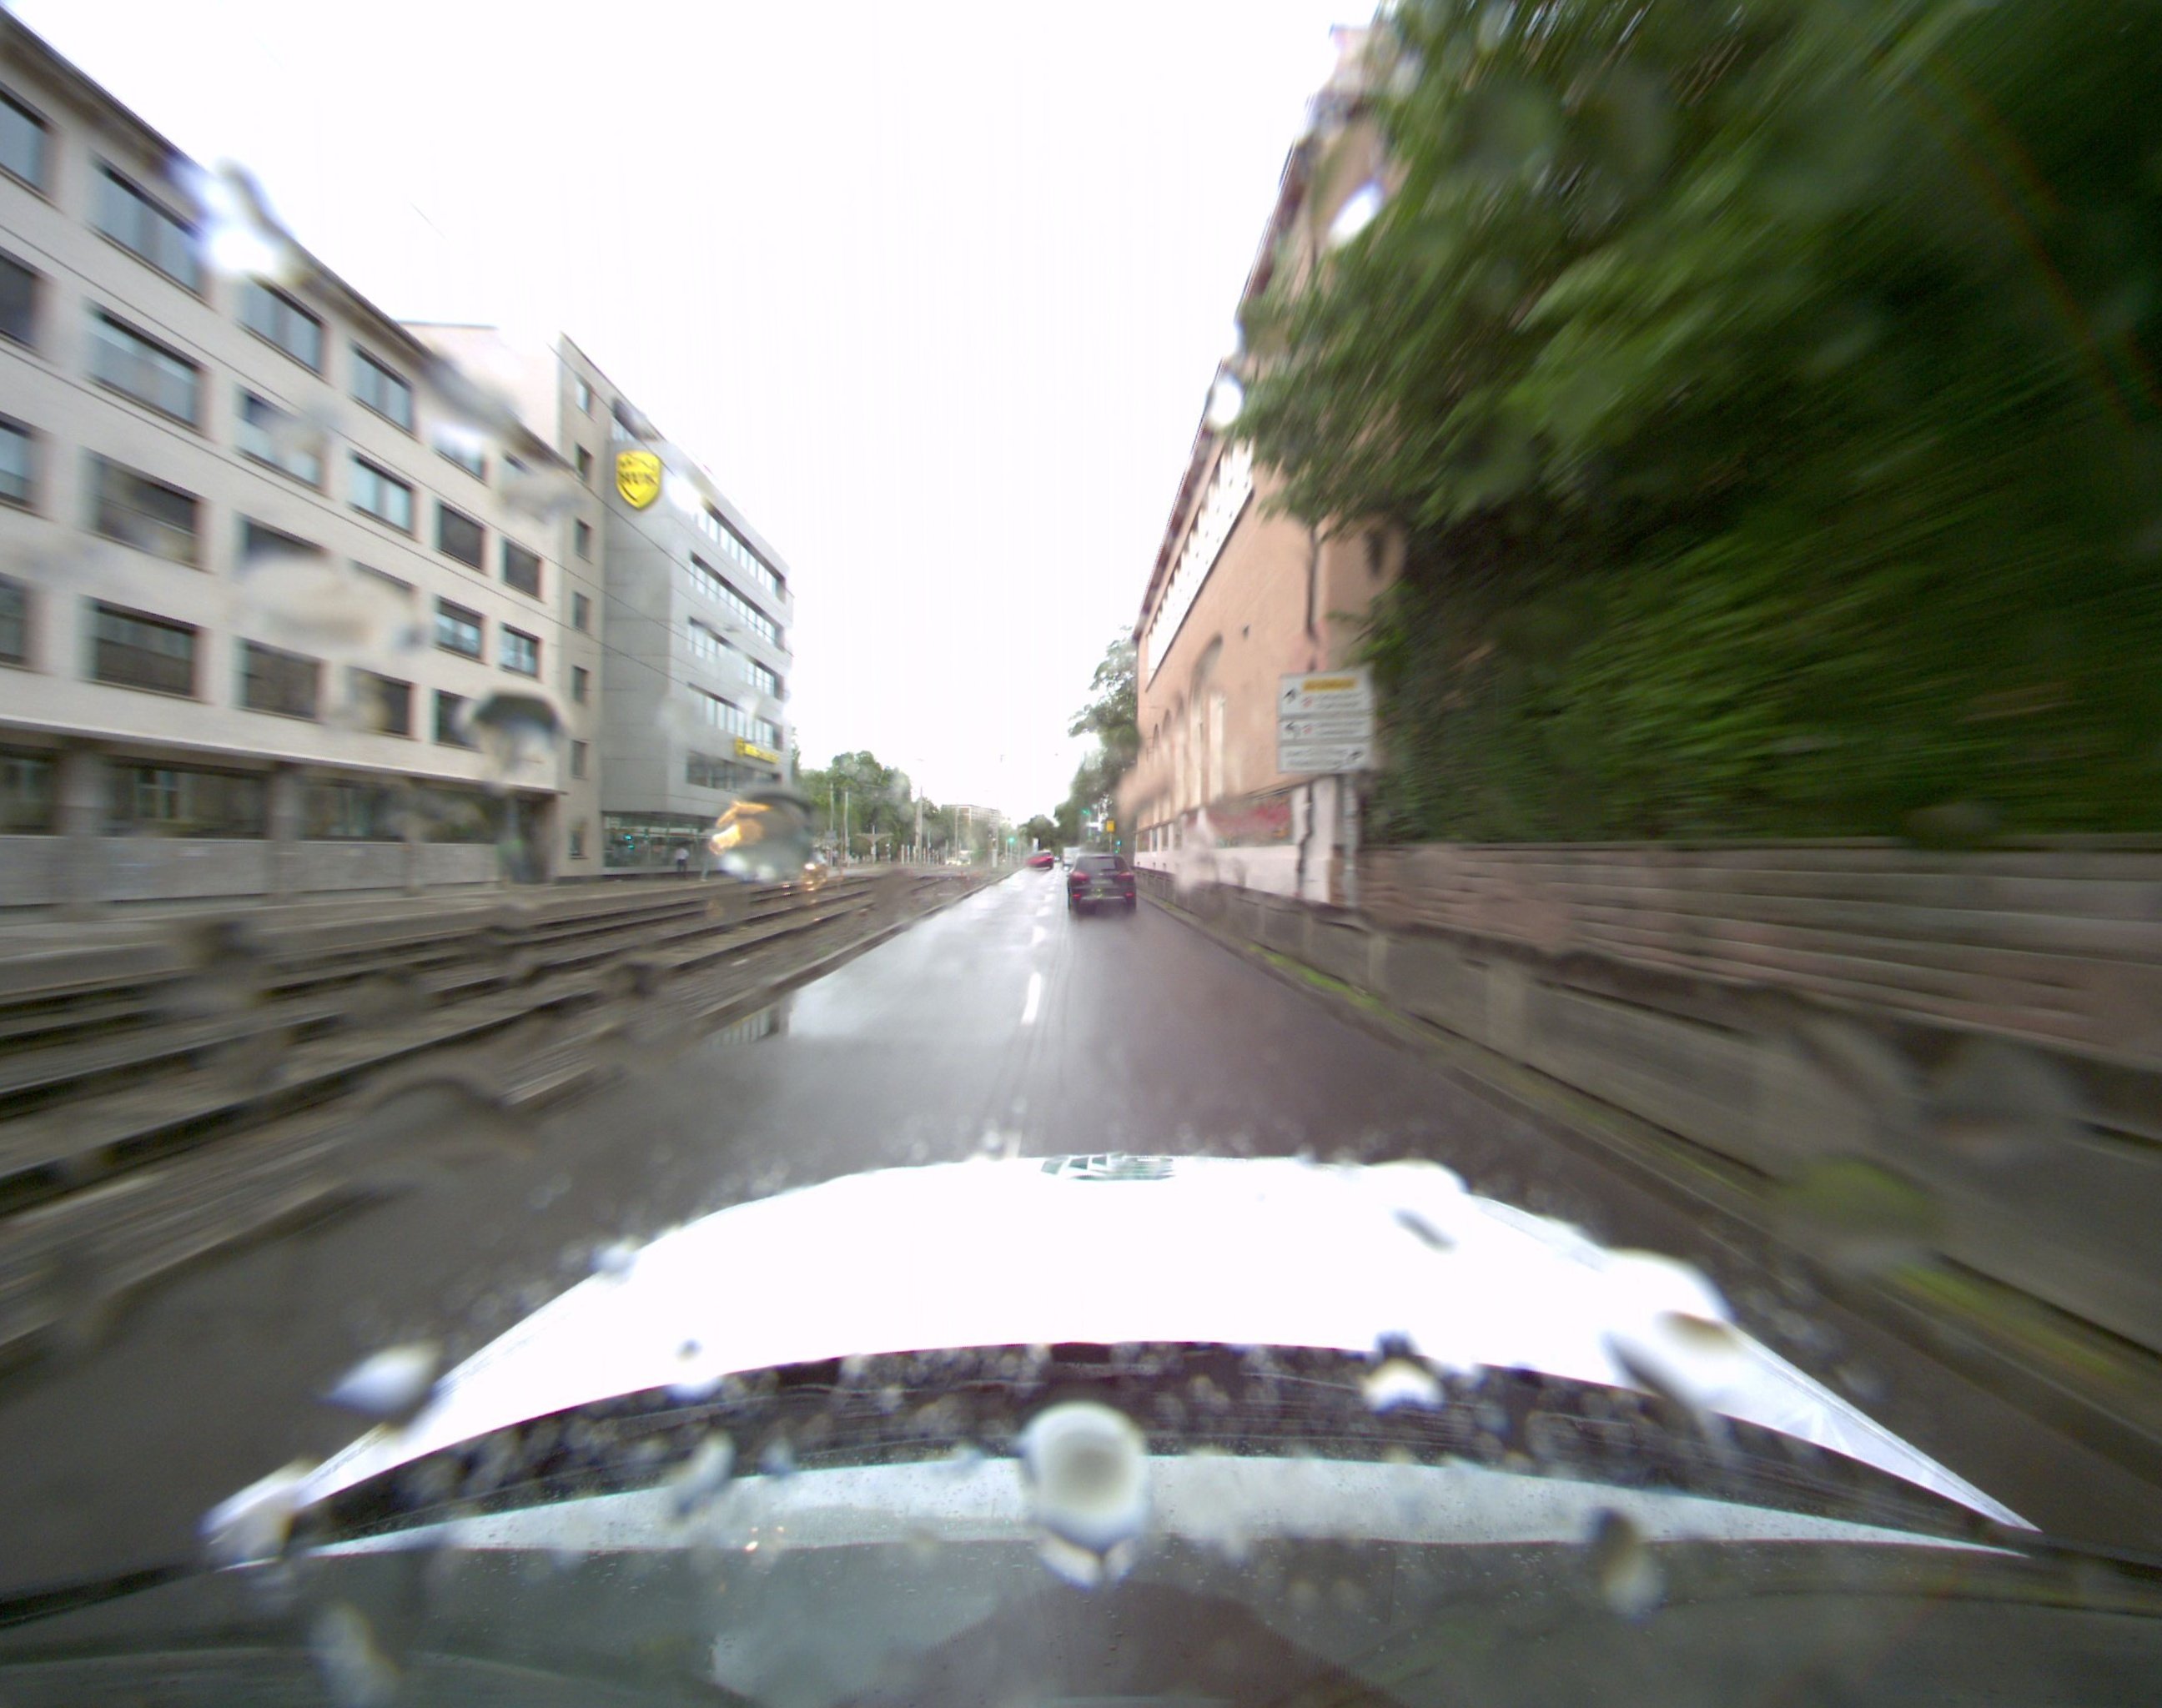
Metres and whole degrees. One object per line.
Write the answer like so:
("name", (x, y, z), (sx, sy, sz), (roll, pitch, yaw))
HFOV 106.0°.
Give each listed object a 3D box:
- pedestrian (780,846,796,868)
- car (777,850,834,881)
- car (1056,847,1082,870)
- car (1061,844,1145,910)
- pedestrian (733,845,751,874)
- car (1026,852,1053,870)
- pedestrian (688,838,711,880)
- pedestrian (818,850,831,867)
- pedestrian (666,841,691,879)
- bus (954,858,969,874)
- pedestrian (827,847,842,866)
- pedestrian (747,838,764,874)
("pedestrian", (-21.871, 0.251, 60.795), (0.971, 1.594, 0.582), (3, -1, -38))
("car", (-15.266, 0.590, 45.291), (1.936, 1.536, 4.341), (-3, 0, -5))
("car", (-0.968, 0.343, 68.077), (2.029, 1.840, 4.392), (1, 0, 0))
("car", (0.485, 0.545, 21.961), (2.030, 1.584, 4.389), (1, 0, -1))
("pedestrian", (-19.265, 0.300, 46.265), (0.583, 1.594, 0.638), (2, -1, 15))
("car", (-3.545, 0.603, 70.850), (2.092, 1.506, 4.730), (-1, 0, 0))
("pedestrian", (-18.471, 0.237, 39.467), (0.659, 2.014, 0.810), (2, -1, -1))
("pedestrian", (-24.051, 0.410, 76.421), (0.908, 1.594, 1.002), (2, -1, -3))
("pedestrian", (-19.471, 0.300, 39.412), (0.659, 1.815, 0.973), (2, -1, -1))
("bus", (-25.812, 2.486, 176.249), (3.075, 3.301, 12.487), (-1, 0, -8))
("pedestrian", (-24.252, 0.243, 80.133), (0.994, 1.863, 0.916), (2, -1, 9))
("pedestrian", (-18.472, 0.093, 46.253), (0.666, 2.014, 0.610), (3, -1, -40))
